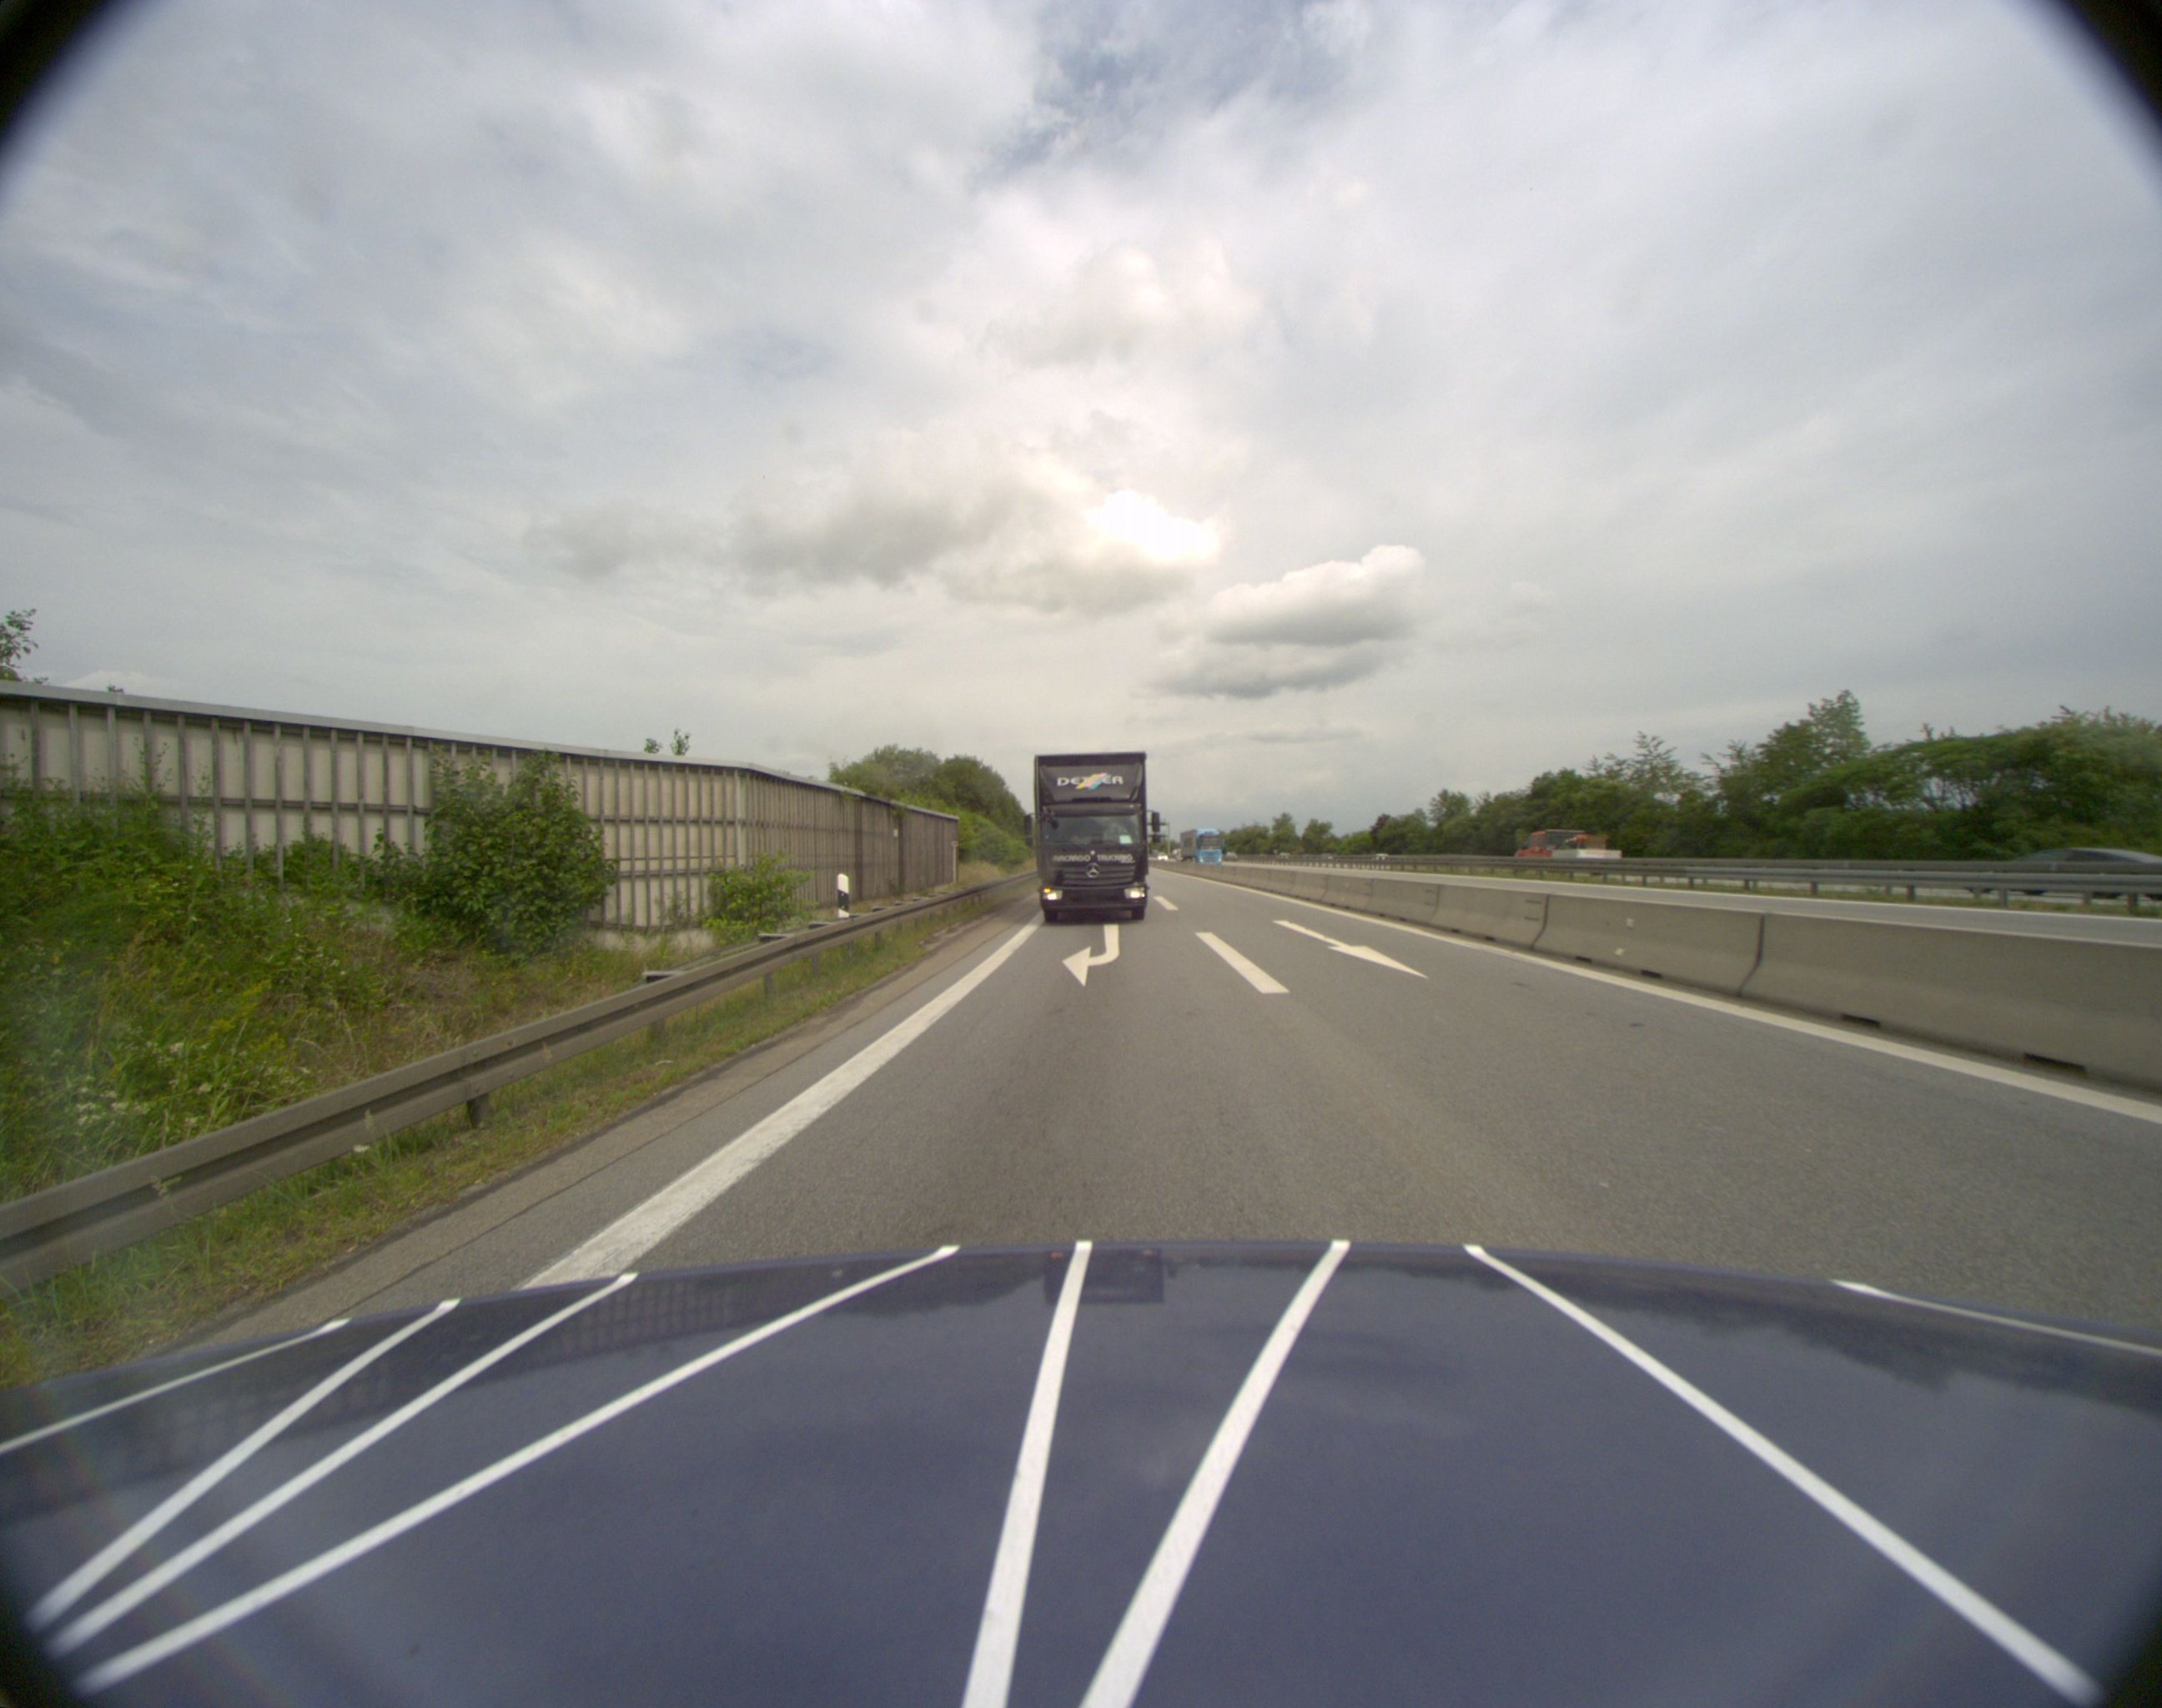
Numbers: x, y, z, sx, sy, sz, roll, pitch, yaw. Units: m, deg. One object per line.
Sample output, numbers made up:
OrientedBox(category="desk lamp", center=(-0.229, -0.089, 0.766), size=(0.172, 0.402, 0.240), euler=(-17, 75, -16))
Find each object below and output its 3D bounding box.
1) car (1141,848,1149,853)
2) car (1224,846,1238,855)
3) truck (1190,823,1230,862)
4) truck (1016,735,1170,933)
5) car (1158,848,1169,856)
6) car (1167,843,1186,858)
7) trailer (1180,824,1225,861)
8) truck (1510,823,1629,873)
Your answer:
OrientedBox(category="car", center=(16.979, -0.858, 201.675), size=(1.757, 1.361, 4.205), euler=(-1, 1, -1))
OrientedBox(category="car", center=(27.171, -0.631, 137.400), size=(1.691, 1.460, 4.004), euler=(-2, 0, 0))
OrientedBox(category="truck", center=(13.773, -1.189, 81.487), size=(3.255, 3.889, 6.609), euler=(-2, 1, 1))
OrientedBox(category="truck", center=(0.382, -0.441, 20.612), size=(3.024, 3.931, 10.340), euler=(-2, 0, 2))
OrientedBox(category="car", center=(14.397, -0.372, 132.433), size=(1.684, 1.476, 3.775), euler=(-1, 0, 5))
OrientedBox(category="car", center=(13.452, -0.499, 107.048), size=(2.004, 1.927, 5.131), euler=(-2, 1, 0))
OrientedBox(category="trailer", center=(13.906, -1.289, 88.210), size=(3.244, 3.902, 12.379), euler=(-2, 1, 1))
OrientedBox(category="truck", center=(25.141, -0.301, 39.451), size=(2.282, 2.356, 6.200), euler=(-1, 0, 1))
